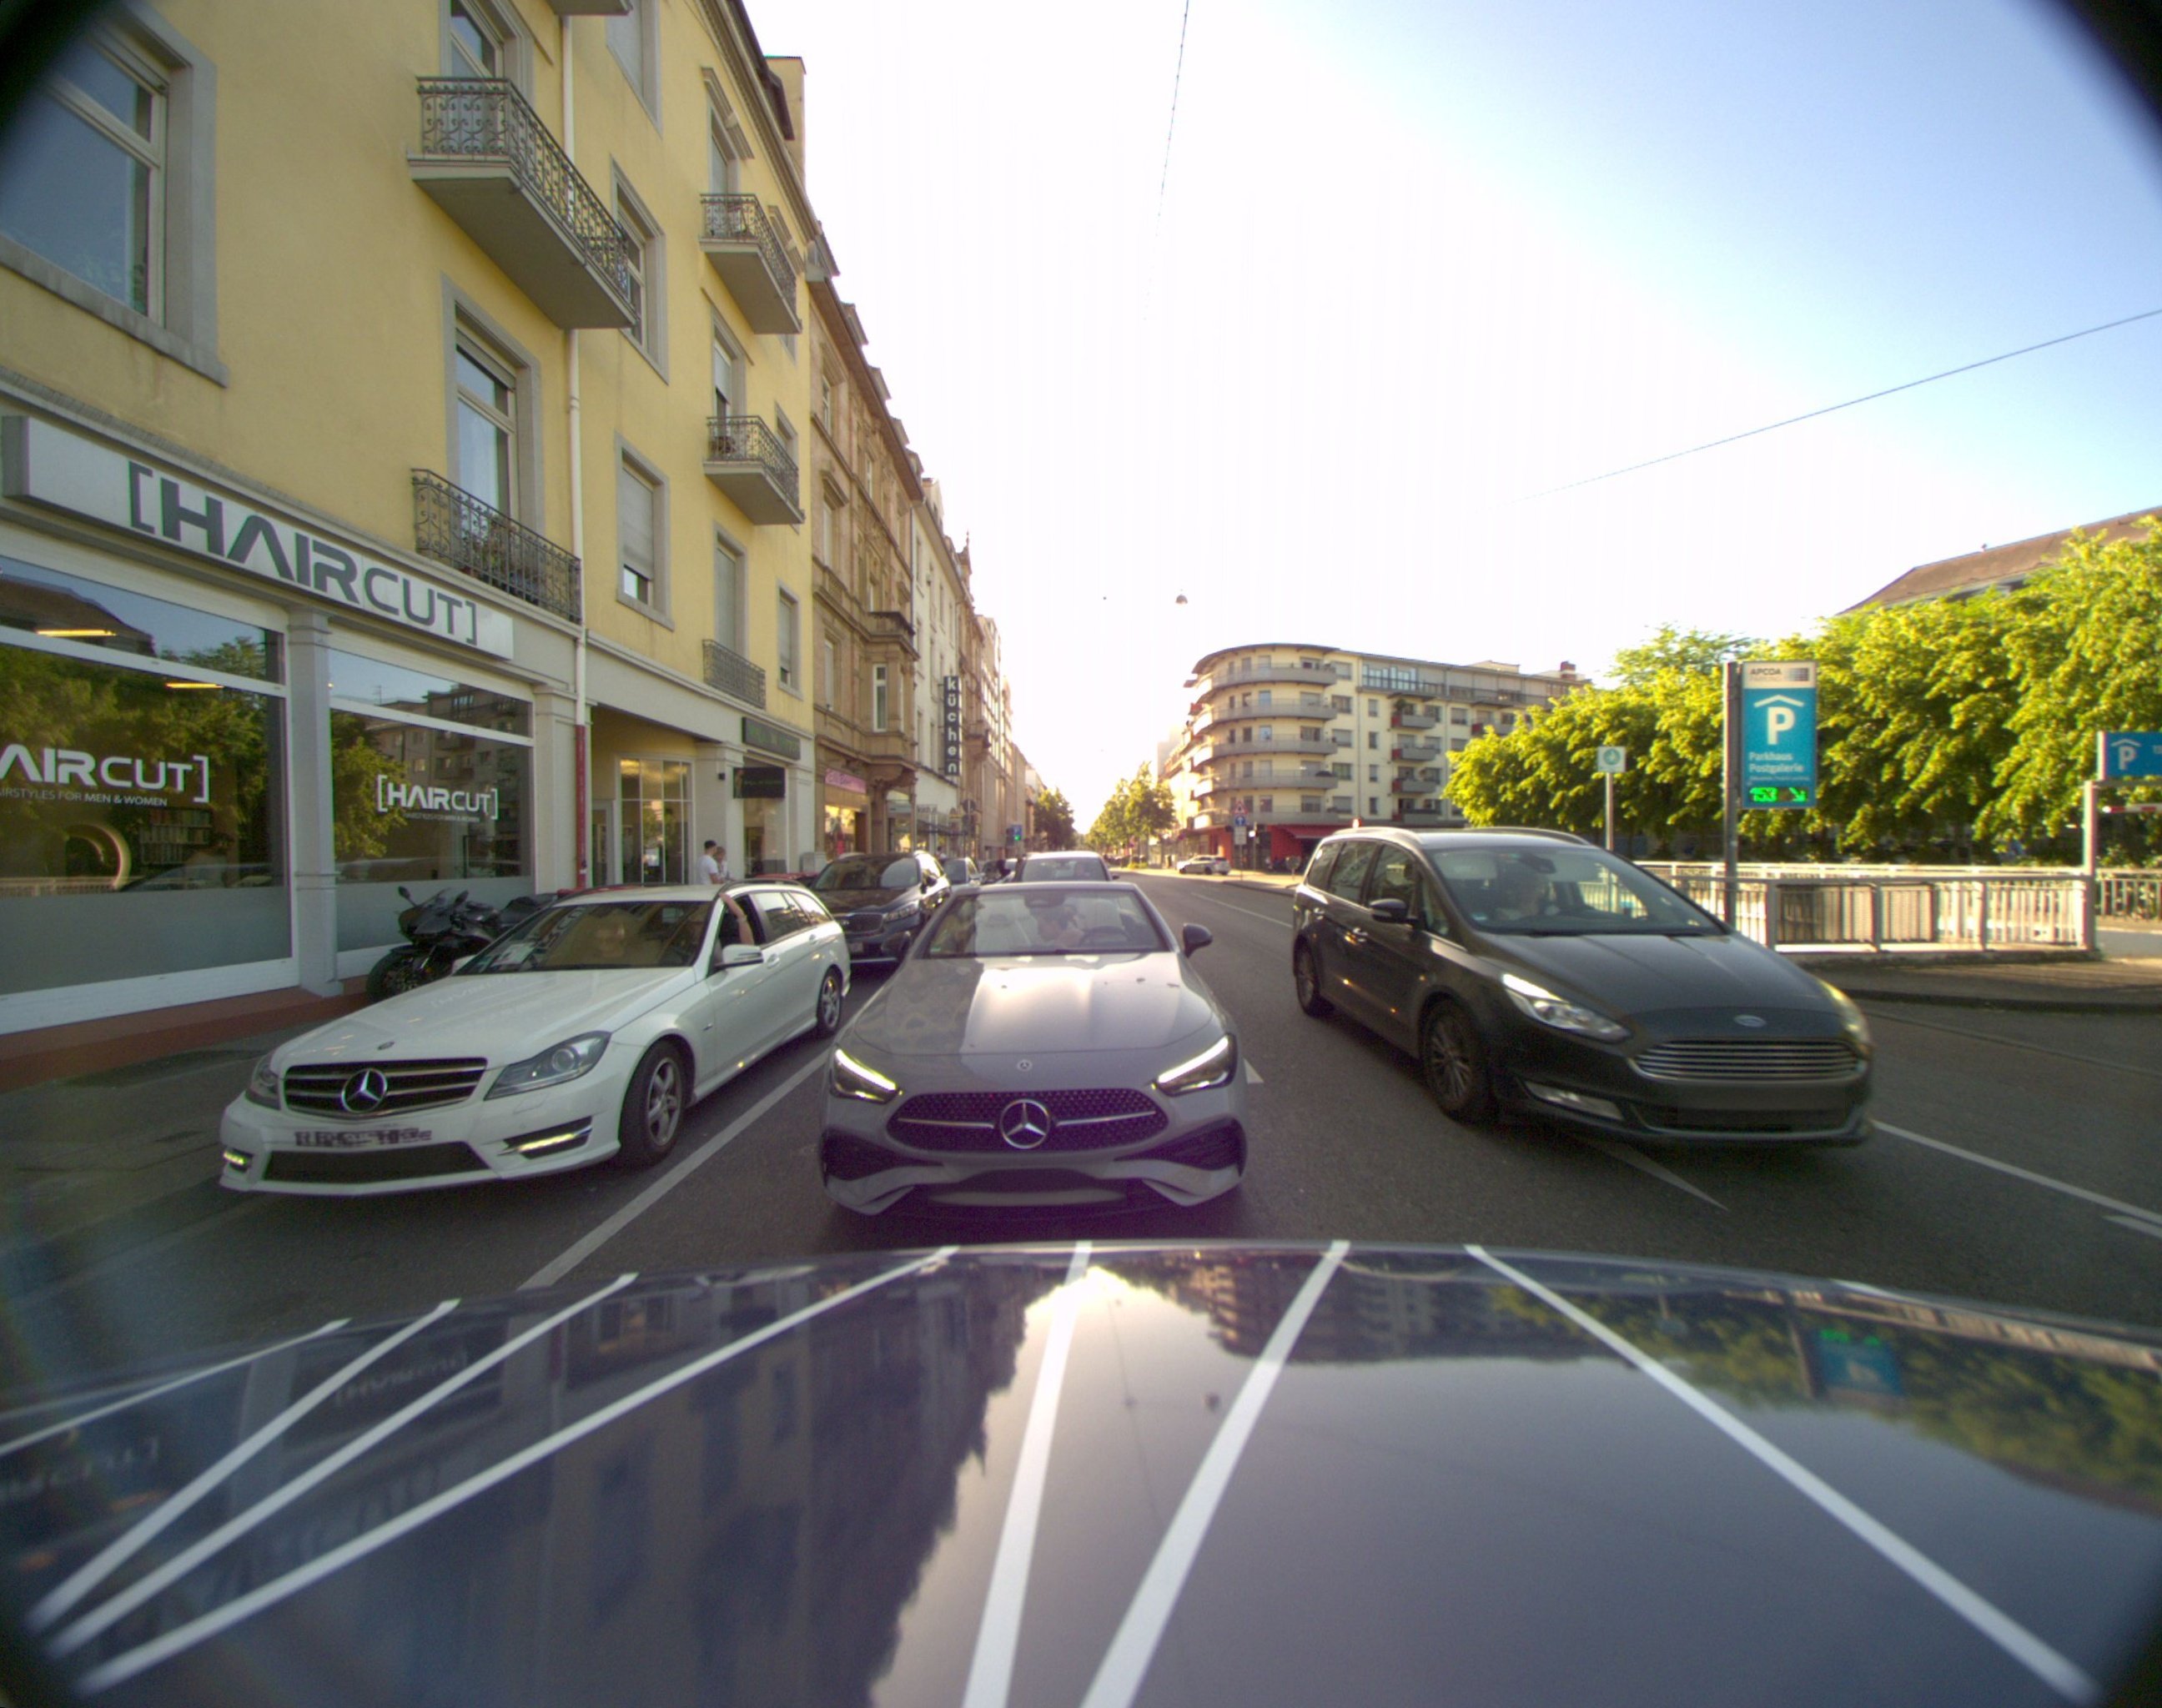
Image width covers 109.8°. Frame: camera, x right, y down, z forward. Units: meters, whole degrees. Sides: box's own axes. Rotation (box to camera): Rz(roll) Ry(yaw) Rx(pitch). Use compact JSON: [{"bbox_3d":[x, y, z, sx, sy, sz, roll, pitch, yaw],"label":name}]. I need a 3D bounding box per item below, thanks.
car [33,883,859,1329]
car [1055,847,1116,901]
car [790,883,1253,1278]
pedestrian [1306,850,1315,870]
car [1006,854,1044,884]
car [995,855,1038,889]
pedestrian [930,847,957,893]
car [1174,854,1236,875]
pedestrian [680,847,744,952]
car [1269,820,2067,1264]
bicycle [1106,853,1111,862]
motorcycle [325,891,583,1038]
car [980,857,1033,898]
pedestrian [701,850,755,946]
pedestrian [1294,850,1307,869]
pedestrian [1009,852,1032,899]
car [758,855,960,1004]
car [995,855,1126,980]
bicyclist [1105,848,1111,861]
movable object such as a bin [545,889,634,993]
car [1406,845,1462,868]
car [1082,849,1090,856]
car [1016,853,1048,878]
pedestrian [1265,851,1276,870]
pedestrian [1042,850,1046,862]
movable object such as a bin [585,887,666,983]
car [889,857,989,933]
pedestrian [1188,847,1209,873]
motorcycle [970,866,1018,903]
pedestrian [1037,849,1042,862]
[{"bbox_3d":[-3.078,1.047,5.189,1.759,1.453,4.597,-1,0,0],"label":"car"},{"bbox_3d":[0.180,0.638,27.101,1.952,1.742,4.000,-1,0,1],"label":"car"},{"bbox_3d":[-0.258,1.010,5.241,1.849,1.371,4.255,-2,0,-1],"label":"car"},{"bbox_3d":[17.948,0.471,59.494,0.581,1.481,0.793,-1,1,13],"label":"pedestrian"},{"bbox_3d":[-2.984,0.768,40.993,1.715,1.477,3.999,-1,0,0],"label":"car"},{"bbox_3d":[-3.053,0.818,36.475,1.715,1.477,3.999,-1,0,0],"label":"car"},{"bbox_3d":[-4.935,0.561,27.292,0.795,1.607,0.763,-1,1,-1],"label":"pedestrian"},{"bbox_3d":[8.753,0.728,53.856,1.807,1.426,4.240,-2,1,-36],"label":"car"},{"bbox_3d":[-5.855,0.704,12.089,0.642,1.607,0.701,-1,1,-1],"label":"pedestrian"},{"bbox_3d":[2.942,0.742,5.408,1.999,1.761,4.727,-1,0,0],"label":"car"},{"bbox_3d":[3.652,0.483,100.972,0.661,1.083,1.971,-1,0,4],"label":"bicycle"},{"bbox_3d":[-6.264,1.025,7.821,0.773,1.158,2.247,1,0,1],"label":"motorcycle"},{"bbox_3d":[-2.945,0.884,30.723,1.715,1.477,3.999,-1,0,0],"label":"car"},{"bbox_3d":[-6.103,0.750,13.168,0.572,1.607,0.643,-1,1,2],"label":"pedestrian"},{"bbox_3d":[17.688,0.449,61.148,0.583,1.453,0.790,-2,1,-37],"label":"pedestrian"},{"bbox_3d":[-2.177,0.768,27.427,0.693,1.657,0.834,-2,1,-11],"label":"pedestrian"},{"bbox_3d":[-2.993,0.896,11.330,1.858,1.688,4.697,-1,0,-4],"label":"car"},{"bbox_3d":[-0.253,0.853,12.172,1.716,1.599,4.000,-1,0,1],"label":"car"},{"bbox_3d":[3.605,0.063,100.891,0.757,1.651,1.144,-2,1,5],"label":"bicyclist"},{"bbox_3d":[-6.111,1.065,9.483,0.647,1.200,0.644,-1,1,1],"label":"movable object such as a bin"},{"bbox_3d":[29.032,0.184,62.446,4.004,1.740,1.996,-2,1,-23],"label":"car"},{"bbox_3d":[1.567,-0.481,230.934,1.998,1.805,4.001,-1,0,3],"label":"car"},{"bbox_3d":[-3.026,0.697,47.588,1.715,1.477,4.062,-1,0,0],"label":"car"},{"bbox_3d":[15.051,0.509,60.266,0.791,1.452,0.583,-1,1,10],"label":"pedestrian"},{"bbox_3d":[-5.263,0.274,107.715,0.466,1.769,0.569,-1,1,5],"label":"pedestrian"},{"bbox_3d":[-6.061,1.056,10.134,0.647,1.200,0.644,-1,1,1],"label":"movable object such as a bin"},{"bbox_3d":[-3.245,0.894,17.873,1.696,1.559,3.018,-1,0,1],"label":"car"},{"bbox_3d":[9.207,0.476,59.358,1.202,2.002,1.018,-3,1,-37],"label":"pedestrian"},{"bbox_3d":[-3.060,1.052,26.782,0.769,1.225,1.546,-1,1,42],"label":"motorcycle"},{"bbox_3d":[-5.937,0.219,107.867,0.527,1.875,0.569,-1,1,6],"label":"pedestrian"}]
